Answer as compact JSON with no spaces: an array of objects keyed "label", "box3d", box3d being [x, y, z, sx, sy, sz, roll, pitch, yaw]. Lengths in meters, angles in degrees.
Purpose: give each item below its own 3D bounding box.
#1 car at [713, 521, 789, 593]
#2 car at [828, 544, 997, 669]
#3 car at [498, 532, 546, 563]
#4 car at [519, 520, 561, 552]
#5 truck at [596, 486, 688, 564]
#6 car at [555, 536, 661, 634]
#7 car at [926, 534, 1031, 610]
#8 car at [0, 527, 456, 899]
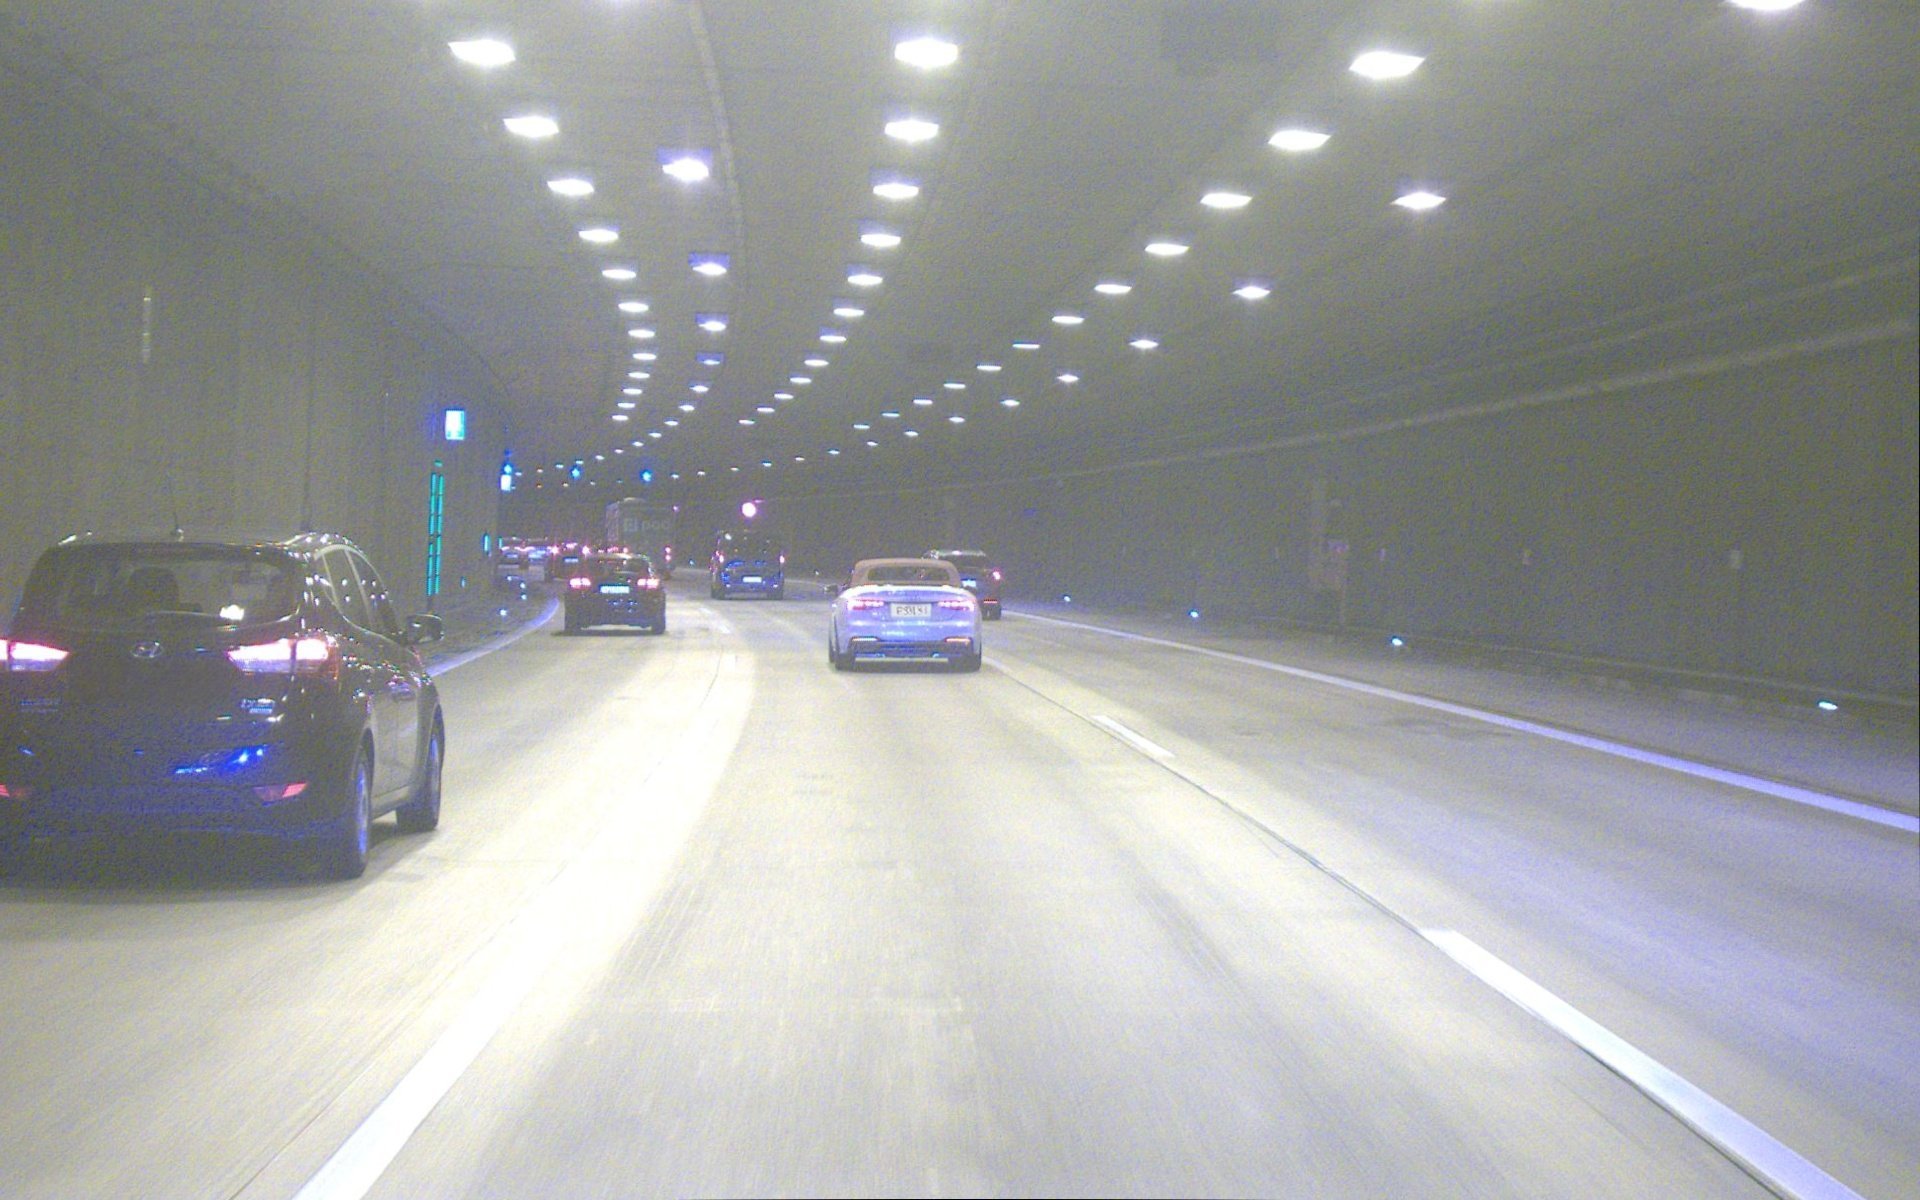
[{"label":"car","box3d":[-5.858,-1.209,96.136,1.993,1.965,4.001,0,1,-5]},{"label":"car","box3d":[-0.644,0.049,43.457,1.993,1.478,4.001,0,1,-3]},{"label":"car","box3d":[-21.954,-2.621,172.178,1.993,1.525,4.001,1,1,-13]},{"label":"car","box3d":[-23.547,-3.559,192.565,1.993,1.748,4.001,1,1,-12]},{"label":"truck","box3d":[-13.335,-3.195,143.550,3.082,3.102,10.032,1,2,-9]},{"label":"car","box3d":[-6.213,-0.283,60.772,1.800,1.678,4.001,0,1,-5]},{"label":"car","box3d":[0.368,-0.614,74.303,1.839,1.597,4.001,0,1,-6]},{"label":"car","box3d":[-3.559,0.454,16.630,1.785,1.593,3.802,0,1,-2]}]
